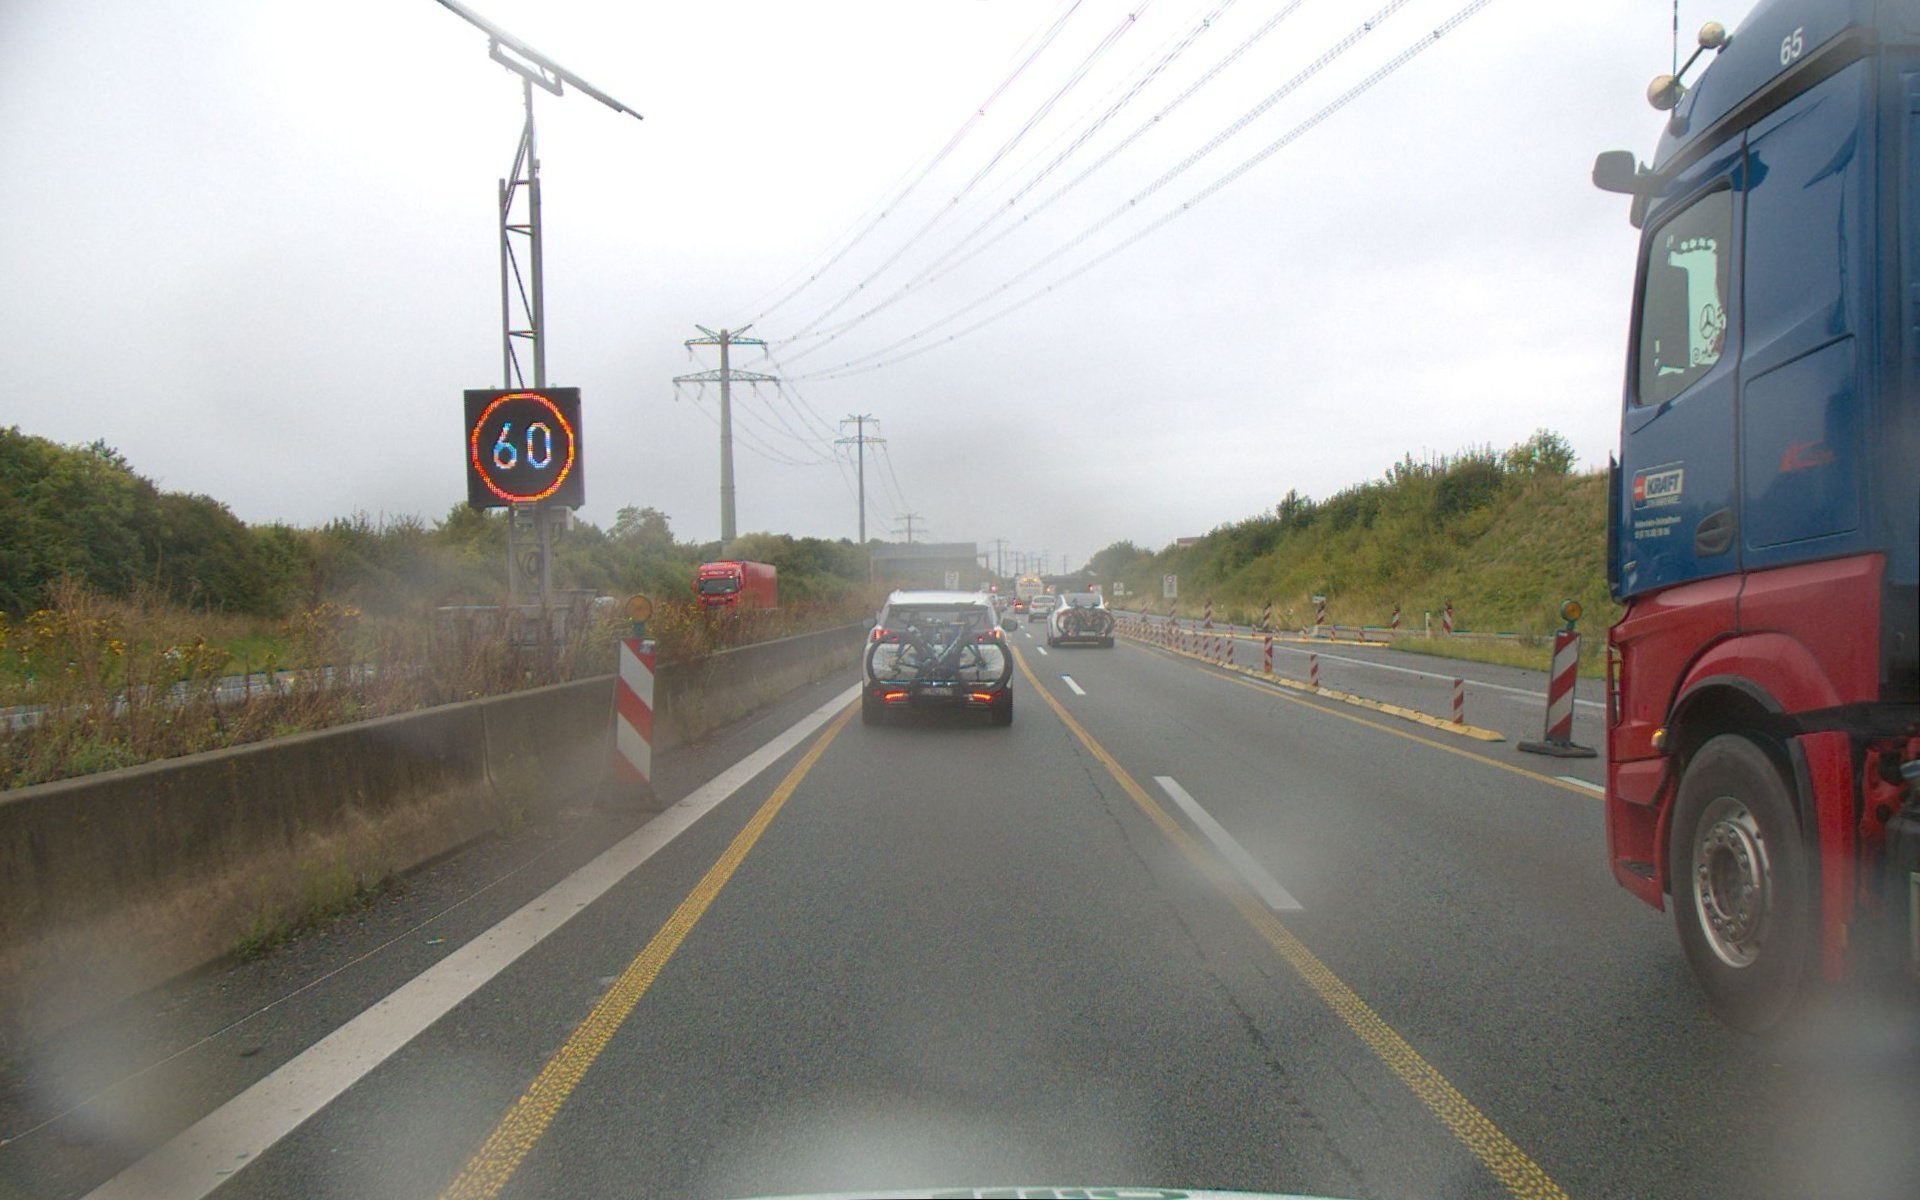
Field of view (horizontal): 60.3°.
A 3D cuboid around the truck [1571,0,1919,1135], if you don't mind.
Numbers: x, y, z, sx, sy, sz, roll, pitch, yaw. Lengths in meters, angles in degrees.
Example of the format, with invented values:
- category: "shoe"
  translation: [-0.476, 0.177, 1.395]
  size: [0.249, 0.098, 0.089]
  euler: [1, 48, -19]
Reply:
- category: "truck"
  translation: [3.936, -0.500, 5.259]
  size: [2.495, 4.016, 4.000]
  euler: [1, -1, 0]

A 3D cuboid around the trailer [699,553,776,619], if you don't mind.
- category: "trailer"
  translation: [-13.987, -0.781, 105.180]
  size: [2.975, 3.881, 13.976]
  euler: [1, -1, 0]

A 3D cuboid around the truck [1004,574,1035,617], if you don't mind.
- category: "truck"
  translation: [5.525, -0.433, 155.192]
  size: [2.591, 3.959, 4.028]
  euler: [1, -1, -2]

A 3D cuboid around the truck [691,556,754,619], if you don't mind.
- category: "truck"
  translation: [-13.982, -0.681, 97.874]
  size: [2.962, 3.593, 4.926]
  euler: [1, -1, 0]

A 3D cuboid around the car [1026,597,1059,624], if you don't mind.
- category: "car"
  translation: [4.822, 0.582, 97.075]
  size: [1.831, 1.561, 4.197]
  euler: [0, 0, 1]

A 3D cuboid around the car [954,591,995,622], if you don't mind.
- category: "car"
  translation: [0.743, 0.334, 86.723]
  size: [1.953, 1.611, 3.998]
  euler: [0, 0, -2]

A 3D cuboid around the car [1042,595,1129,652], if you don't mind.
- category: "car"
  translation: [3.763, 0.676, 50.538]
  size: [2.004, 1.624, 5.799]
  euler: [1, 0, -2]

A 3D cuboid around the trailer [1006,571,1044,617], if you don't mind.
- category: "trailer"
  translation: [5.773, -0.504, 148.693]
  size: [2.585, 3.961, 10.538]
  euler: [1, -1, -2]

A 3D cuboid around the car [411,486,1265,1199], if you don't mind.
- category: "car"
  translation: [-0.293, 0.641, 5.862]
  size: [1.953, 1.791, 4.000]
  euler: [-1, 0, -1]

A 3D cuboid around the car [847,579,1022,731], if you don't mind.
- category: "car"
  translation: [-0.260, 0.595, 20.230]
  size: [1.889, 1.639, 4.595]
  euler: [0, 0, 0]

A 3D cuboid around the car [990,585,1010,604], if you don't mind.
- category: "car"
  translation: [4.288, -0.592, 178.929]
  size: [1.953, 2.049, 3.998]
  euler: [1, -1, -2]
